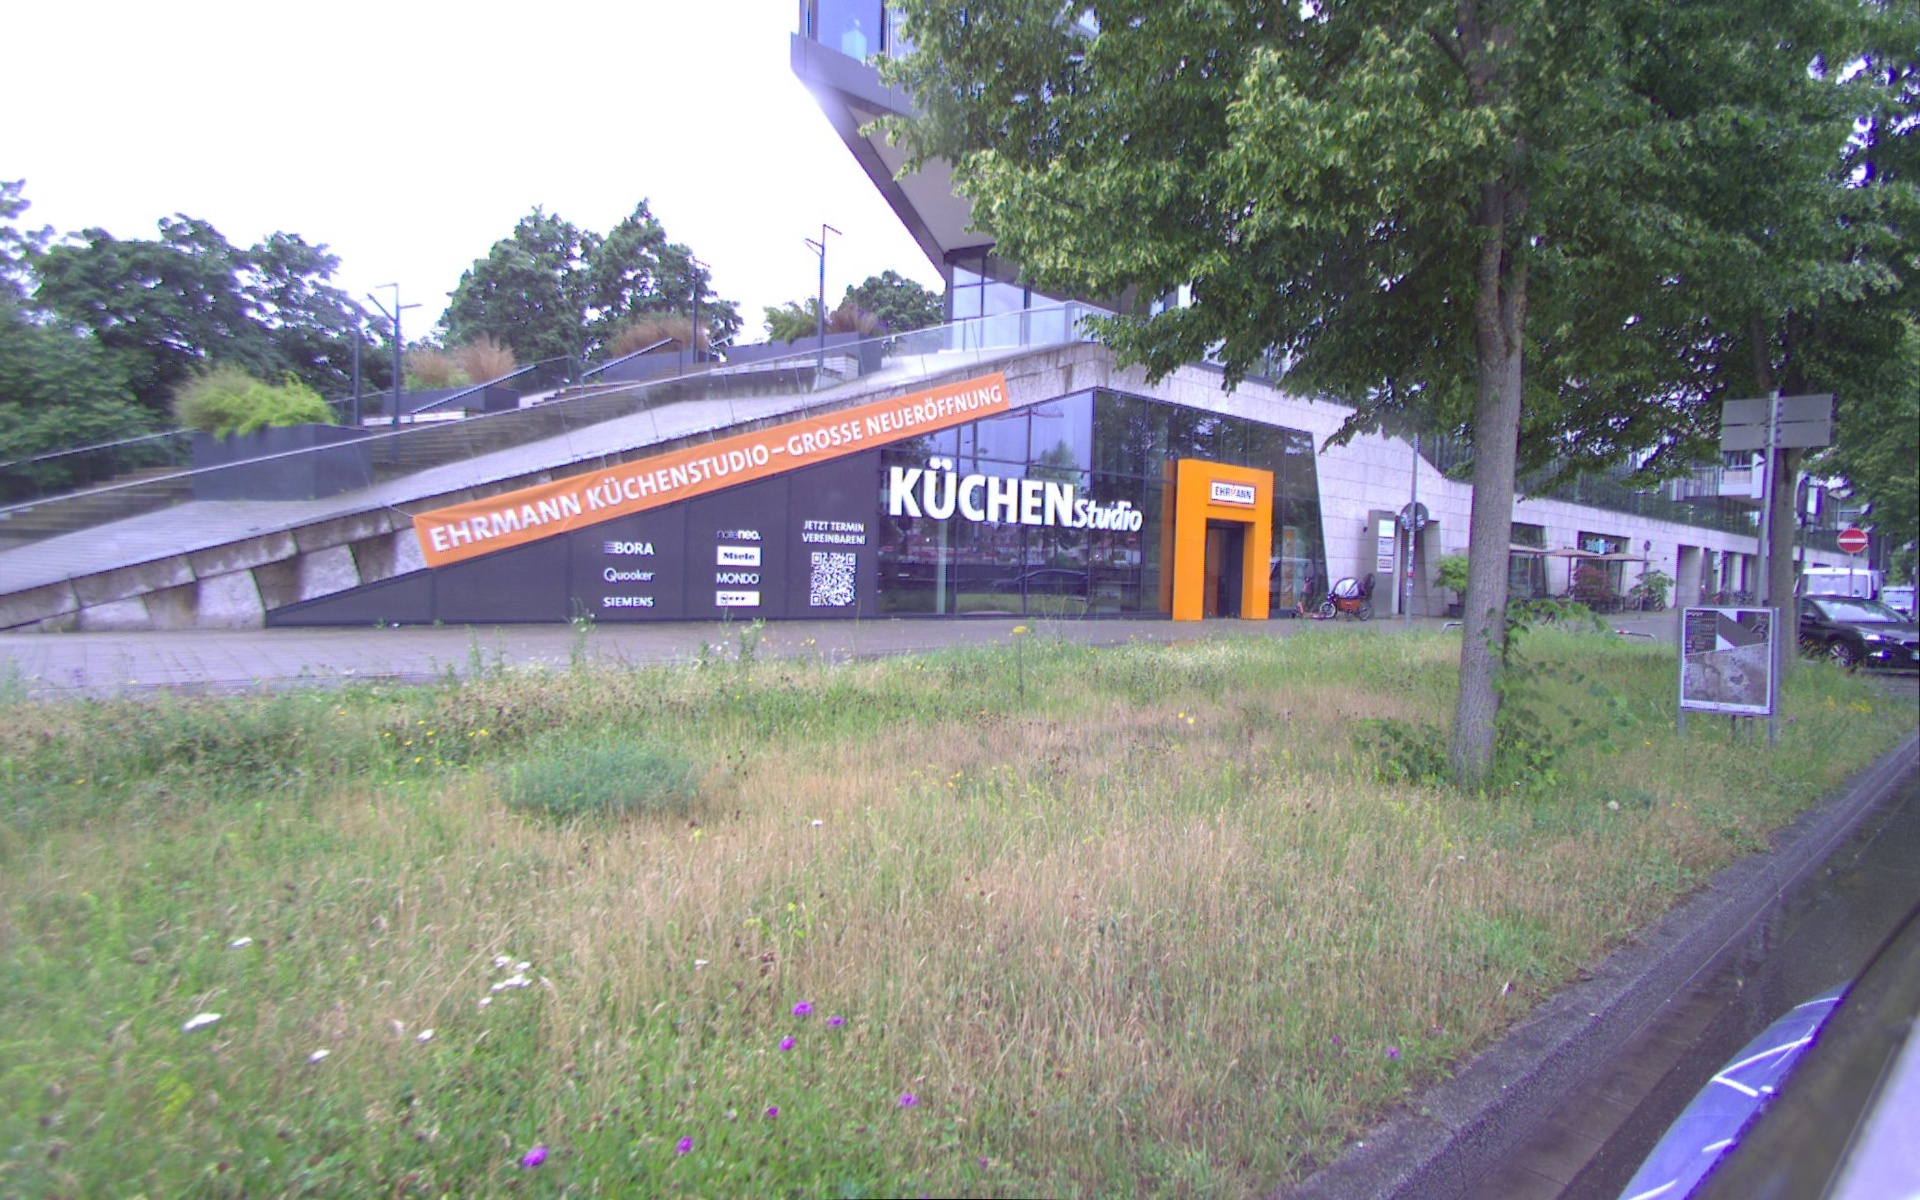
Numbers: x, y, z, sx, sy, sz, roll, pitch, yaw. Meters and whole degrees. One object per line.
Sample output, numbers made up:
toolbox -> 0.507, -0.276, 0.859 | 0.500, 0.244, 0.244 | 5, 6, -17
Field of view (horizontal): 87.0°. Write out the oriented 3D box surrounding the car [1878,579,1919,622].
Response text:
car -> 41.840, 0.000, 44.479 | 4.765, 1.781, 1.744 | -1, 2, -42

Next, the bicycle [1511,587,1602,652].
bicycle -> 13.172, 0.400, 22.403 | 0.521, 1.363, 1.852 | 2, 0, -15

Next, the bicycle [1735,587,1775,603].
bicycle -> 53.485, -0.353, 68.113 | 0.389, 0.957, 2.025 | -1, 4, -44

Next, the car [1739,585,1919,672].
car -> 17.337, 0.474, 19.633 | 1.805, 1.437, 4.330 | 1, 2, 12

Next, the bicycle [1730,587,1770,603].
bicycle -> 51.816, -0.323, 66.411 | 0.389, 0.957, 2.025 | -1, 4, -44

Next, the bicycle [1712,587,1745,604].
bicycle -> 48.456, -0.298, 63.816 | 0.339, 0.957, 1.665 | 1, 3, -22

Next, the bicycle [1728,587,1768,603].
bicycle -> 51.320, -0.317, 65.932 | 0.389, 0.957, 2.025 | -1, 4, -44

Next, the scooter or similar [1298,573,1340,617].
scooter or similar -> 10.384, -0.149, 29.295 | 1.214, 1.243, 0.343 | -1, 0, -22

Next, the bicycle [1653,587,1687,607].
bicycle -> 35.904, -0.169, 51.204 | 0.388, 0.958, 2.028 | -1, 0, 4

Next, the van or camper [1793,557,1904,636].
van or camper -> 28.532, -0.169, 32.422 | 5.366, 2.320, 2.029 | -1, 2, -42

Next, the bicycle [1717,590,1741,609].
bicycle -> 38.897, -0.023, 51.186 | 1.823, 0.957, 0.403 | 0, 1, -34

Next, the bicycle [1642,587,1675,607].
bicycle -> 35.303, -0.163, 51.200 | 0.388, 0.958, 2.028 | -1, 0, 4

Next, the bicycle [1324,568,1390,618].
bicycle -> 11.961, -0.214, 30.442 | 2.382, 1.419, 0.734 | 0, 3, -40

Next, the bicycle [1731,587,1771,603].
bicycle -> 52.220, -0.329, 66.834 | 0.389, 0.957, 2.025 | -1, 4, -44
